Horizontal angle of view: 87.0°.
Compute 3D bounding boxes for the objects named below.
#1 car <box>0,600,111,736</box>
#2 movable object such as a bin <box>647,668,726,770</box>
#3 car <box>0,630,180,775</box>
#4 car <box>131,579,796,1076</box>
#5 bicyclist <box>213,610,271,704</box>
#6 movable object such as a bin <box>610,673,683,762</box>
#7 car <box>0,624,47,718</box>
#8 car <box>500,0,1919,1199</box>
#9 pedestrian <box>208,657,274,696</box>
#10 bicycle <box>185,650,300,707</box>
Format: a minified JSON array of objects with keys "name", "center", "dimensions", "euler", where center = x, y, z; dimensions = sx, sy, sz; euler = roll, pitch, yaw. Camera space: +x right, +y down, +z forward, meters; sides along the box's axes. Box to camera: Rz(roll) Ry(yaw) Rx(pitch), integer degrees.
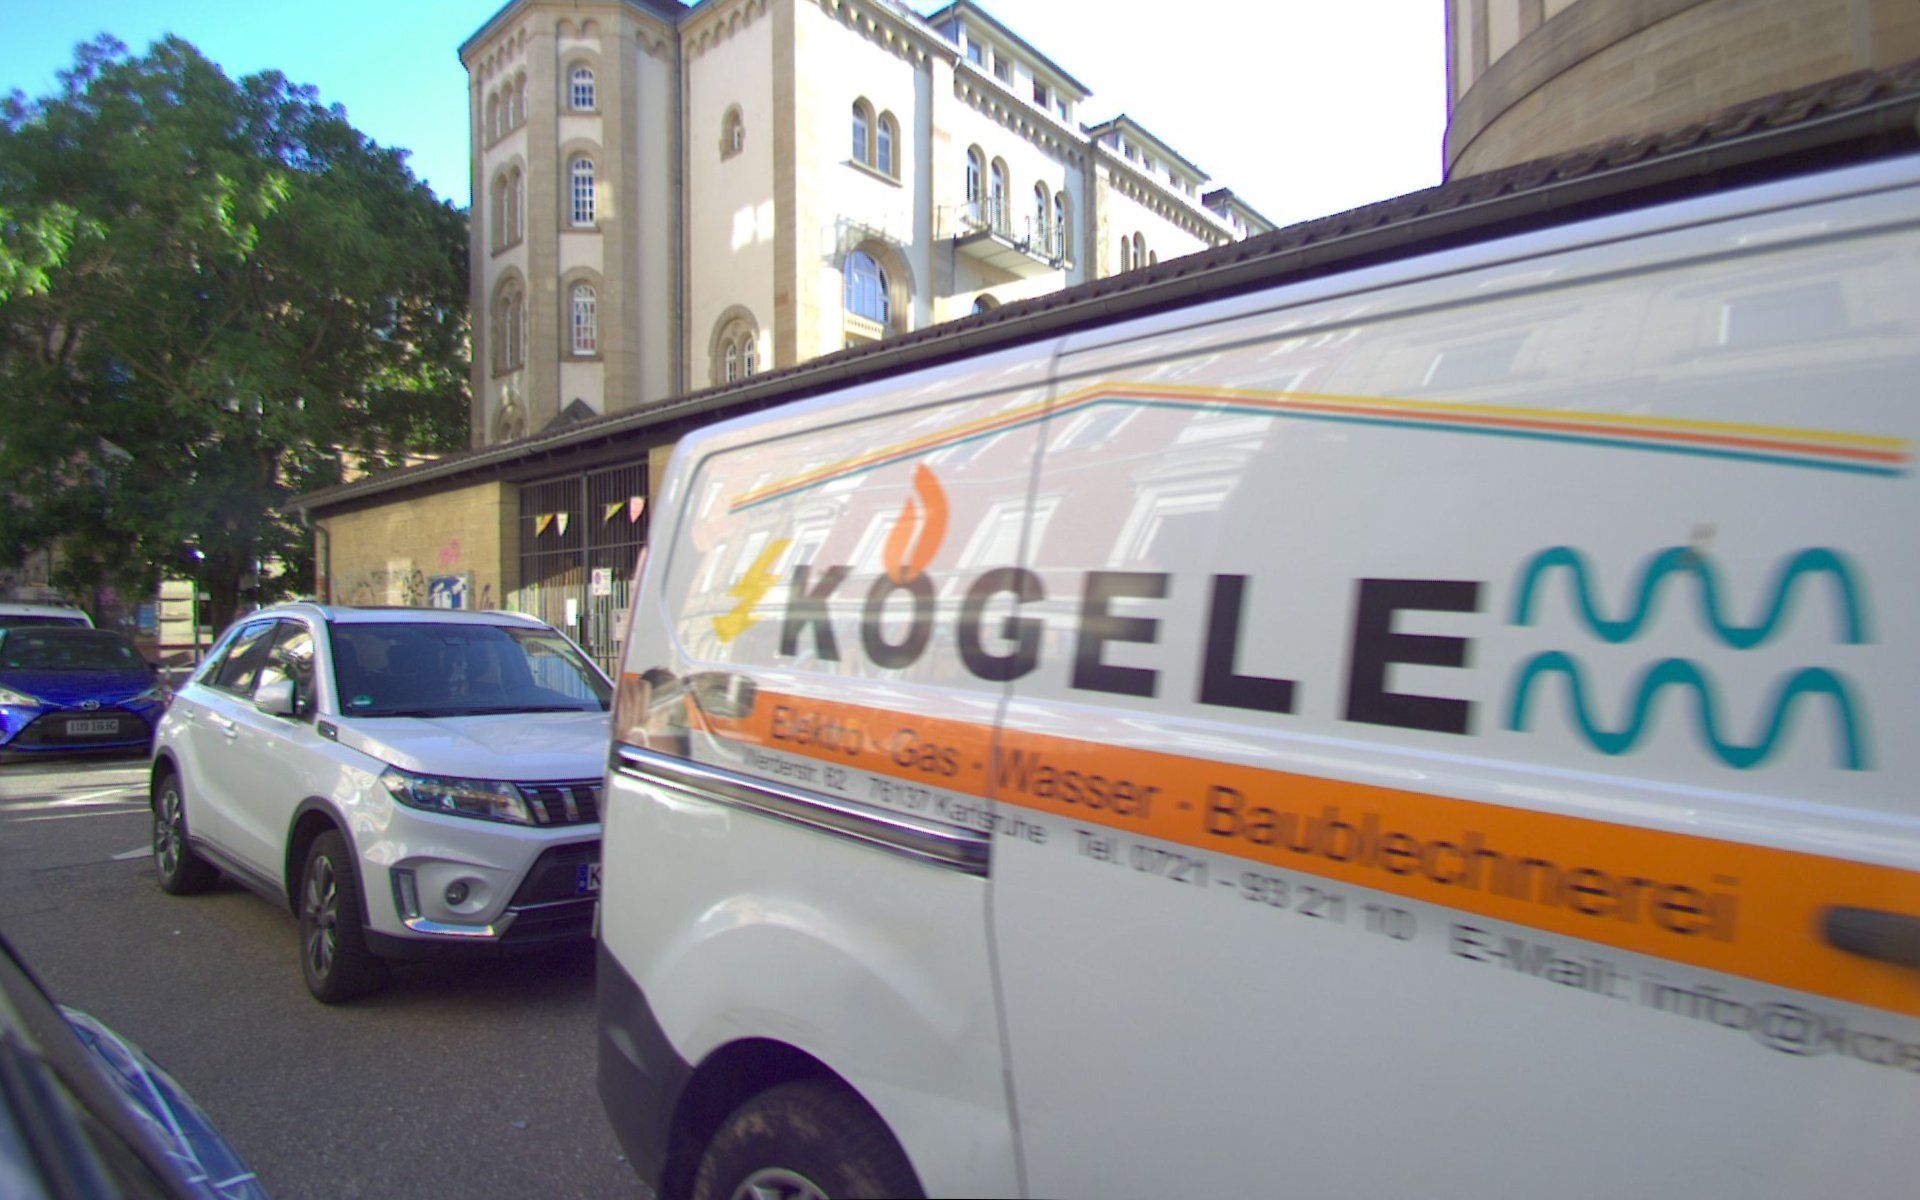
[{"name":"car","center":[-14.666,1.013,15.594],"dimensions":[4.464,1.876,1.826],"euler":[-3,-3,42]},{"name":"movable object such as a bin","center":[-2.557,1.097,9.469],"dimensions":[0.570,0.882,0.477],"euler":[-2,-2,41]},{"name":"car","center":[-10.900,1.138,12.122],"dimensions":[3.858,1.488,1.670],"euler":[-2,-4,41]},{"name":"car","center":[-2.760,0.785,5.203],"dimensions":[3.867,1.598,1.724],"euler":[-2,-2,41]},{"name":"bicyclist","center":[-14.007,1.089,19.735],"dimensions":[0.795,1.736,0.693],"euler":[-3,1,-41]},{"name":"movable object such as a bin","center":[-3.080,1.137,9.942],"dimensions":[0.590,0.813,0.448],"euler":[-2,-2,41]},{"name":"car","center":[-18.813,1.305,19.066],"dimensions":[4.284,1.659,1.723],"euler":[-2,-2,39]},{"name":"car","center":[1.373,0.470,1.374],"dimensions":[4.607,1.972,1.845],"euler":[-2,-4,41]},{"name":"pedestrian","center":[-15.160,1.599,21.352],"dimensions":[0.697,0.784,0.914],"euler":[-1,-2,17]},{"name":"bicycle","center":[-13.979,1.502,19.735],"dimensions":[1.740,0.930,0.827],"euler":[-3,0,-41]}]
